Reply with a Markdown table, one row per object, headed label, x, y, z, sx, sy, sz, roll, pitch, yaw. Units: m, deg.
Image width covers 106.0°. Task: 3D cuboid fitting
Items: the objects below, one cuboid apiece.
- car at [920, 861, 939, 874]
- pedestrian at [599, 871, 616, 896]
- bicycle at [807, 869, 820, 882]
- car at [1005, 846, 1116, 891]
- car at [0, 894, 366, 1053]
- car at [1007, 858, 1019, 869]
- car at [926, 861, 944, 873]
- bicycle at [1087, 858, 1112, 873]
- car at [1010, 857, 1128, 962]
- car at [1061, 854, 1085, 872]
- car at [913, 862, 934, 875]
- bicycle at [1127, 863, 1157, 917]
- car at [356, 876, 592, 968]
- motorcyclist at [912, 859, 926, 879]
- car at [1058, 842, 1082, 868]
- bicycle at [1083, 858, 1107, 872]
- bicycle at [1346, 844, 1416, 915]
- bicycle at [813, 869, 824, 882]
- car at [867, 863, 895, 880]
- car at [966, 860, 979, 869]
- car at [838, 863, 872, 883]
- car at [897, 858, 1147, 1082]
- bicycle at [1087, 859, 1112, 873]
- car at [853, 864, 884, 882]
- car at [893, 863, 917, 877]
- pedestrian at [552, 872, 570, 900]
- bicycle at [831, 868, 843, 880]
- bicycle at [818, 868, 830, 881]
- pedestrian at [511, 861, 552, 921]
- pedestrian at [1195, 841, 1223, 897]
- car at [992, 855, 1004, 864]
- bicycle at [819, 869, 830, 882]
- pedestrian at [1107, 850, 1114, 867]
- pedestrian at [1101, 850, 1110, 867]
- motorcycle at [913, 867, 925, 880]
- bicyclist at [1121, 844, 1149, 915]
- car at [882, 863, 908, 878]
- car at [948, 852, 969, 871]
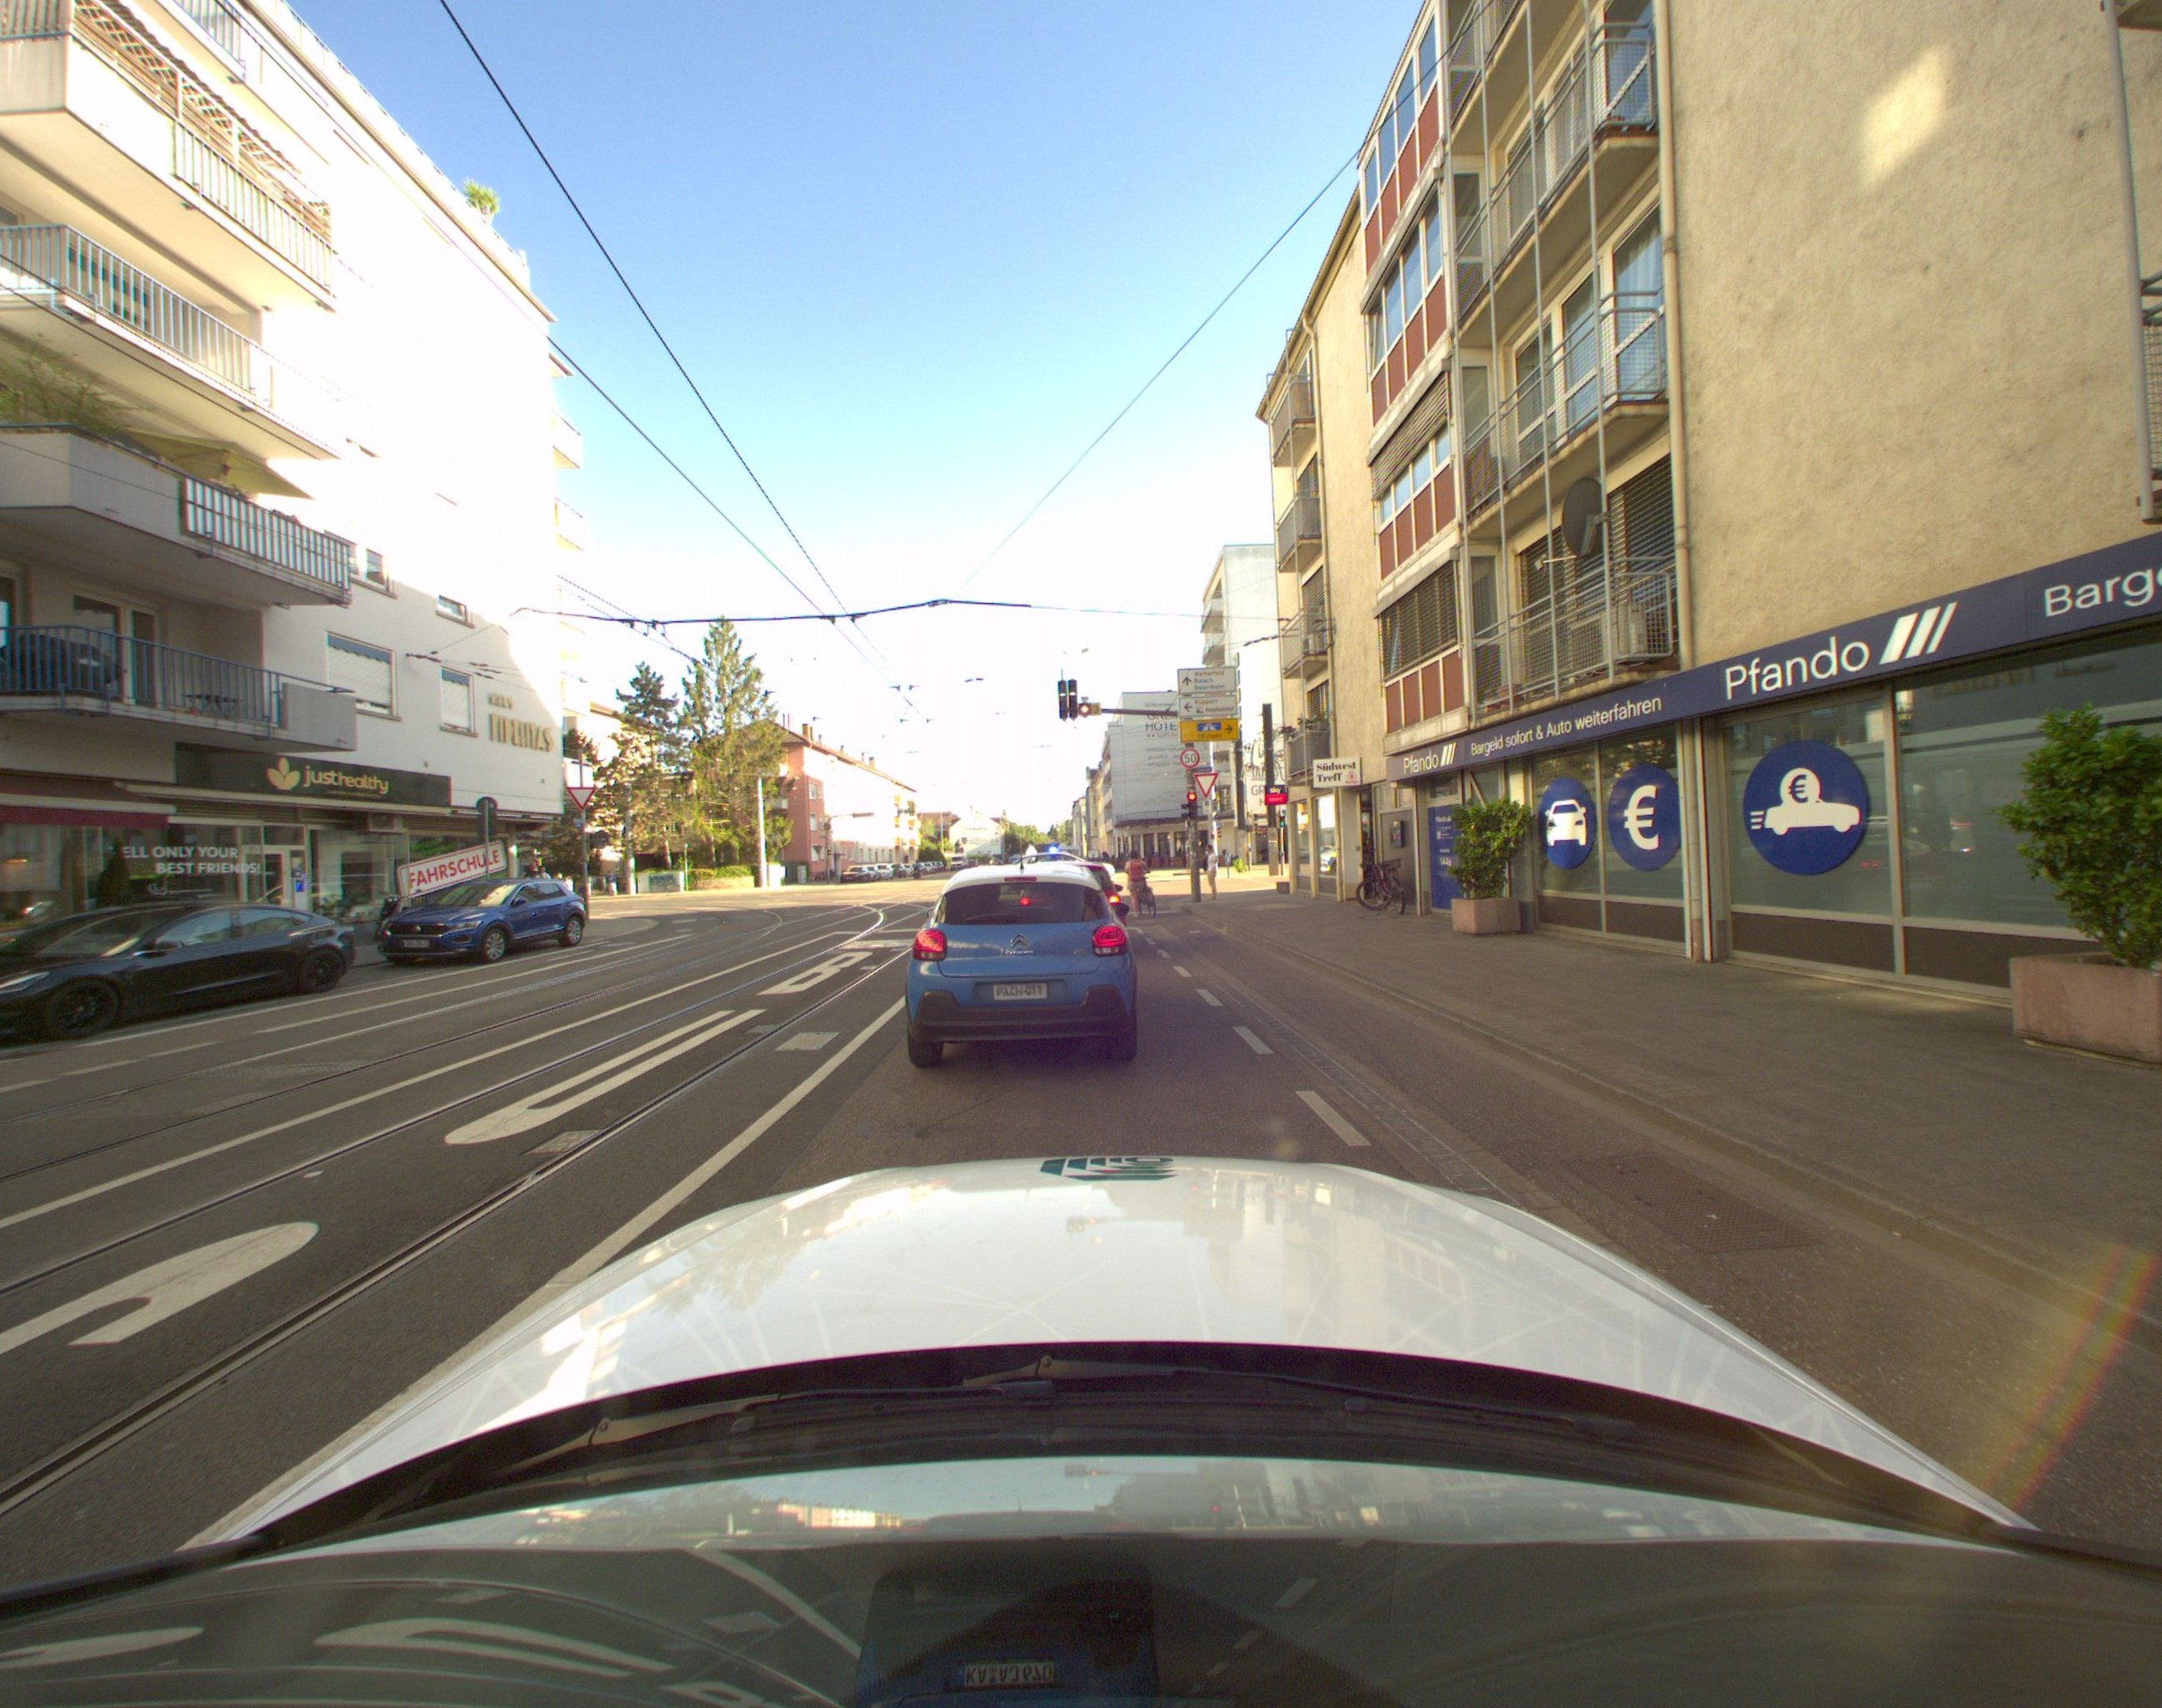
| label | x | y | z | sx | sy | sz | roll | pitch | yaw |
| --- | --- | --- | --- | --- | --- | --- | --- | --- | --- |
| car | -20.302 | 1.773 | 109.343 | 1.947 | 1.519 | 3.995 | -2 | 0 | -4 |
| pedestrian | -32.382 | 2.019 | 55.693 | 0.810 | 1.702 | 0.677 | -2 | 0 | -15 |
| bicycle | -22.380 | 1.795 | 68.093 | 0.640 | 1.082 | 1.905 | -2 | 0 | -9 |
| car | -0.885 | 0.592 | 34.486 | 4.524 | 1.684 | 1.790 | -2 | 0 | -3 |
| car | -11.978 | 1.332 | 10.439 | 1.720 | 1.403 | 4.486 | 0 | 0 | -2 |
| car | -14.276 | 1.976 | 171.427 | 2.333 | 2.039 | 5.044 | -2 | 0 | -4 |
| car | -20.730 | 1.852 | 115.699 | 1.947 | 1.519 | 3.995 | -2 | 0 | -4 |
| bicycle | 1.517 | 0.927 | 65.953 | 1.901 | 1.064 | 0.641 | -2 | 0 | -6 |
| car | -0.221 | 0.809 | 13.726 | 1.675 | 1.462 | 3.997 | -1 | 0 | -2 |
| car | -0.716 | 0.739 | 68.003 | 1.783 | 1.359 | 3.909 | -2 | 0 | -4 |
| car | -20.101 | 1.800 | 104.054 | 1.947 | 1.519 | 3.995 | -2 | 0 | -4 |
| bicycle | 1.537 | 0.885 | 20.744 | 0.611 | 1.264 | 1.911 | -2 | 0 | 2 |
| car | -11.873 | 1.245 | 16.342 | 1.720 | 1.505 | 4.113 | 0 | 0 | -2 |
| motorcyclist | -13.474 | 1.269 | 67.710 | 0.990 | 1.631 | 0.737 | -2 | 0 | -7 |
| car | -1.039 | 0.084 | 73.465 | 2.074 | 2.269 | 5.647 | -1 | 0 | -2 |
| bicycle | 1.160 | 0.950 | 68.462 | 1.901 | 1.064 | 0.641 | -2 | 0 | -6 |
| bicycle | 5.764 | 0.454 | 15.758 | 0.637 | 1.264 | 1.911 | -2 | 0 | 2 |
| bicycle | -21.974 | 1.796 | 68.203 | 0.537 | 1.082 | 1.905 | -2 | 0 | -9 |
| car | -19.561 | 1.685 | 79.871 | 1.947 | 1.519 | 3.995 | -2 | 0 | -4 |
| car | -19.345 | 1.815 | 145.260 | 1.947 | 1.519 | 3.995 | -2 | 0 | -4 |
| car | -19.290 | 1.602 | 69.635 | 1.947 | 1.519 | 3.995 | -2 | 0 | -4 |
| car | -0.446 | 0.790 | 7.517 | 1.675 | 1.462 | 3.997 | -1 | 0 | -2 |
| bicycle | 1.525 | 0.958 | 67.259 | 1.901 | 1.064 | 0.641 | -2 | 0 | -6 |
| car | -19.571 | 1.719 | 75.259 | 1.947 | 1.519 | 4.040 | -2 | 0 | -4 |
| car | -19.983 | 1.790 | 92.611 | 1.947 | 1.519 | 3.995 | -2 | 0 | -4 |
| pedestrian | -32.139 | 1.985 | 50.355 | 0.812 | 1.702 | 0.602 | -2 | 0 | -22 |
| bicycle | -22.717 | 1.862 | 75.818 | 0.608 | 1.082 | 1.908 | -2 | 0 | -4 |
| bicycle | -23.050 | 1.844 | 73.122 | 0.536 | 1.082 | 1.908 | -2 | 0 | -4 |
| pedestrian | -17.283 | 1.172 | 25.612 | 0.761 | 1.834 | 0.725 | -3 | 0 | 28 |
| pedestrian | 3.843 | 0.451 | 24.433 | 0.747 | 1.635 | 0.742 | -2 | 0 | 7 |
| car | -15.247 | 1.001 | 148.913 | 2.003 | 1.627 | 5.040 | -2 | 0 | -7 |
| bicycle | -21.596 | 1.795 | 68.487 | 0.537 | 1.082 | 1.905 | -2 | 0 | -9 |
| pedestrian | 2.523 | 0.376 | 70.135 | 0.467 | 1.420 | 0.524 | -2 | 0 | -11 |
| pedestrian | 2.103 | 0.393 | 70.397 | 0.520 | 1.420 | 0.550 | -3 | 0 | 22 |
| motorcycle | -13.484 | 1.597 | 67.777 | 0.751 | 0.976 | 2.092 | -2 | 0 | -7 |
| bicyclist | 1.374 | 0.631 | 20.711 | 0.598 | 1.746 | 1.084 | -2 | 0 | 2 |
| car | -19.731 | 1.740 | 86.544 | 1.947 | 1.519 | 3.995 | -2 | 0 | -4 |
| car | -18.131 | 1.103 | 120.591 | 2.489 | 2.712 | 5.828 | -2 | 0 | -5 |
